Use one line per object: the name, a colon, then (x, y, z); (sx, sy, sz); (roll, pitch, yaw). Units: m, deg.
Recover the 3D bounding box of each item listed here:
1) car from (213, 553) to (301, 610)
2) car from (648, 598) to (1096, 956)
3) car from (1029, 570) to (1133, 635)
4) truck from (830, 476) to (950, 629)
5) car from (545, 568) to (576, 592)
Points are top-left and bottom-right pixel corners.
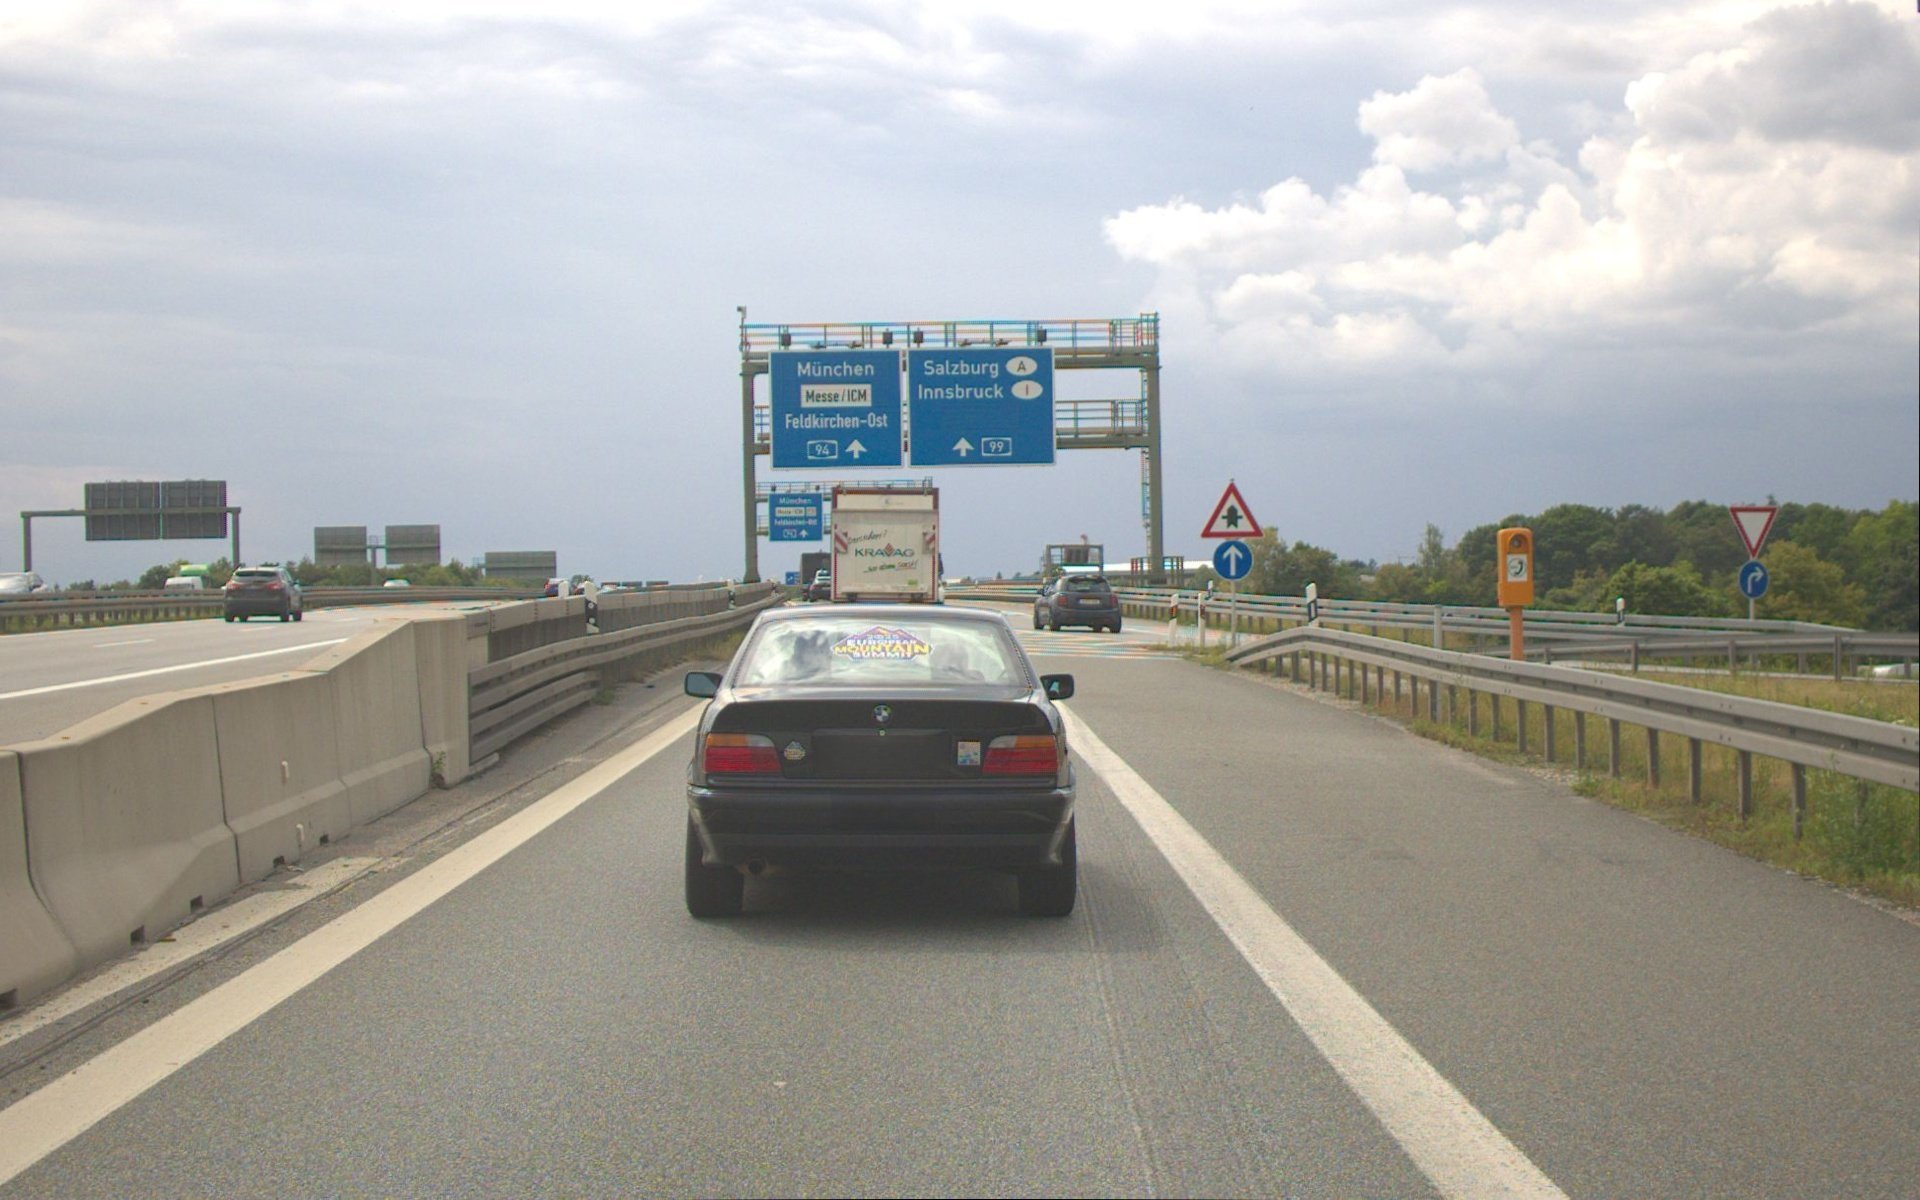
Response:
car: (-20.156, -0.542, 98.716); (1.892, 1.592, 4.418); (0, 1, -4)
car: (-0.353, 0.705, 15.781); (1.782, 1.373, 4.137); (0, 1, 0)
car: (2.993, 0.049, 85.821); (1.993, 1.547, 4.001); (1, 0, -6)
truck: (-1.522, -0.996, 72.800); (2.404, 3.079, 6.371); (0, 1, -2)
car: (-28.140, -1.421, 242.307); (1.993, 1.656, 4.385); (0, 1, -4)
